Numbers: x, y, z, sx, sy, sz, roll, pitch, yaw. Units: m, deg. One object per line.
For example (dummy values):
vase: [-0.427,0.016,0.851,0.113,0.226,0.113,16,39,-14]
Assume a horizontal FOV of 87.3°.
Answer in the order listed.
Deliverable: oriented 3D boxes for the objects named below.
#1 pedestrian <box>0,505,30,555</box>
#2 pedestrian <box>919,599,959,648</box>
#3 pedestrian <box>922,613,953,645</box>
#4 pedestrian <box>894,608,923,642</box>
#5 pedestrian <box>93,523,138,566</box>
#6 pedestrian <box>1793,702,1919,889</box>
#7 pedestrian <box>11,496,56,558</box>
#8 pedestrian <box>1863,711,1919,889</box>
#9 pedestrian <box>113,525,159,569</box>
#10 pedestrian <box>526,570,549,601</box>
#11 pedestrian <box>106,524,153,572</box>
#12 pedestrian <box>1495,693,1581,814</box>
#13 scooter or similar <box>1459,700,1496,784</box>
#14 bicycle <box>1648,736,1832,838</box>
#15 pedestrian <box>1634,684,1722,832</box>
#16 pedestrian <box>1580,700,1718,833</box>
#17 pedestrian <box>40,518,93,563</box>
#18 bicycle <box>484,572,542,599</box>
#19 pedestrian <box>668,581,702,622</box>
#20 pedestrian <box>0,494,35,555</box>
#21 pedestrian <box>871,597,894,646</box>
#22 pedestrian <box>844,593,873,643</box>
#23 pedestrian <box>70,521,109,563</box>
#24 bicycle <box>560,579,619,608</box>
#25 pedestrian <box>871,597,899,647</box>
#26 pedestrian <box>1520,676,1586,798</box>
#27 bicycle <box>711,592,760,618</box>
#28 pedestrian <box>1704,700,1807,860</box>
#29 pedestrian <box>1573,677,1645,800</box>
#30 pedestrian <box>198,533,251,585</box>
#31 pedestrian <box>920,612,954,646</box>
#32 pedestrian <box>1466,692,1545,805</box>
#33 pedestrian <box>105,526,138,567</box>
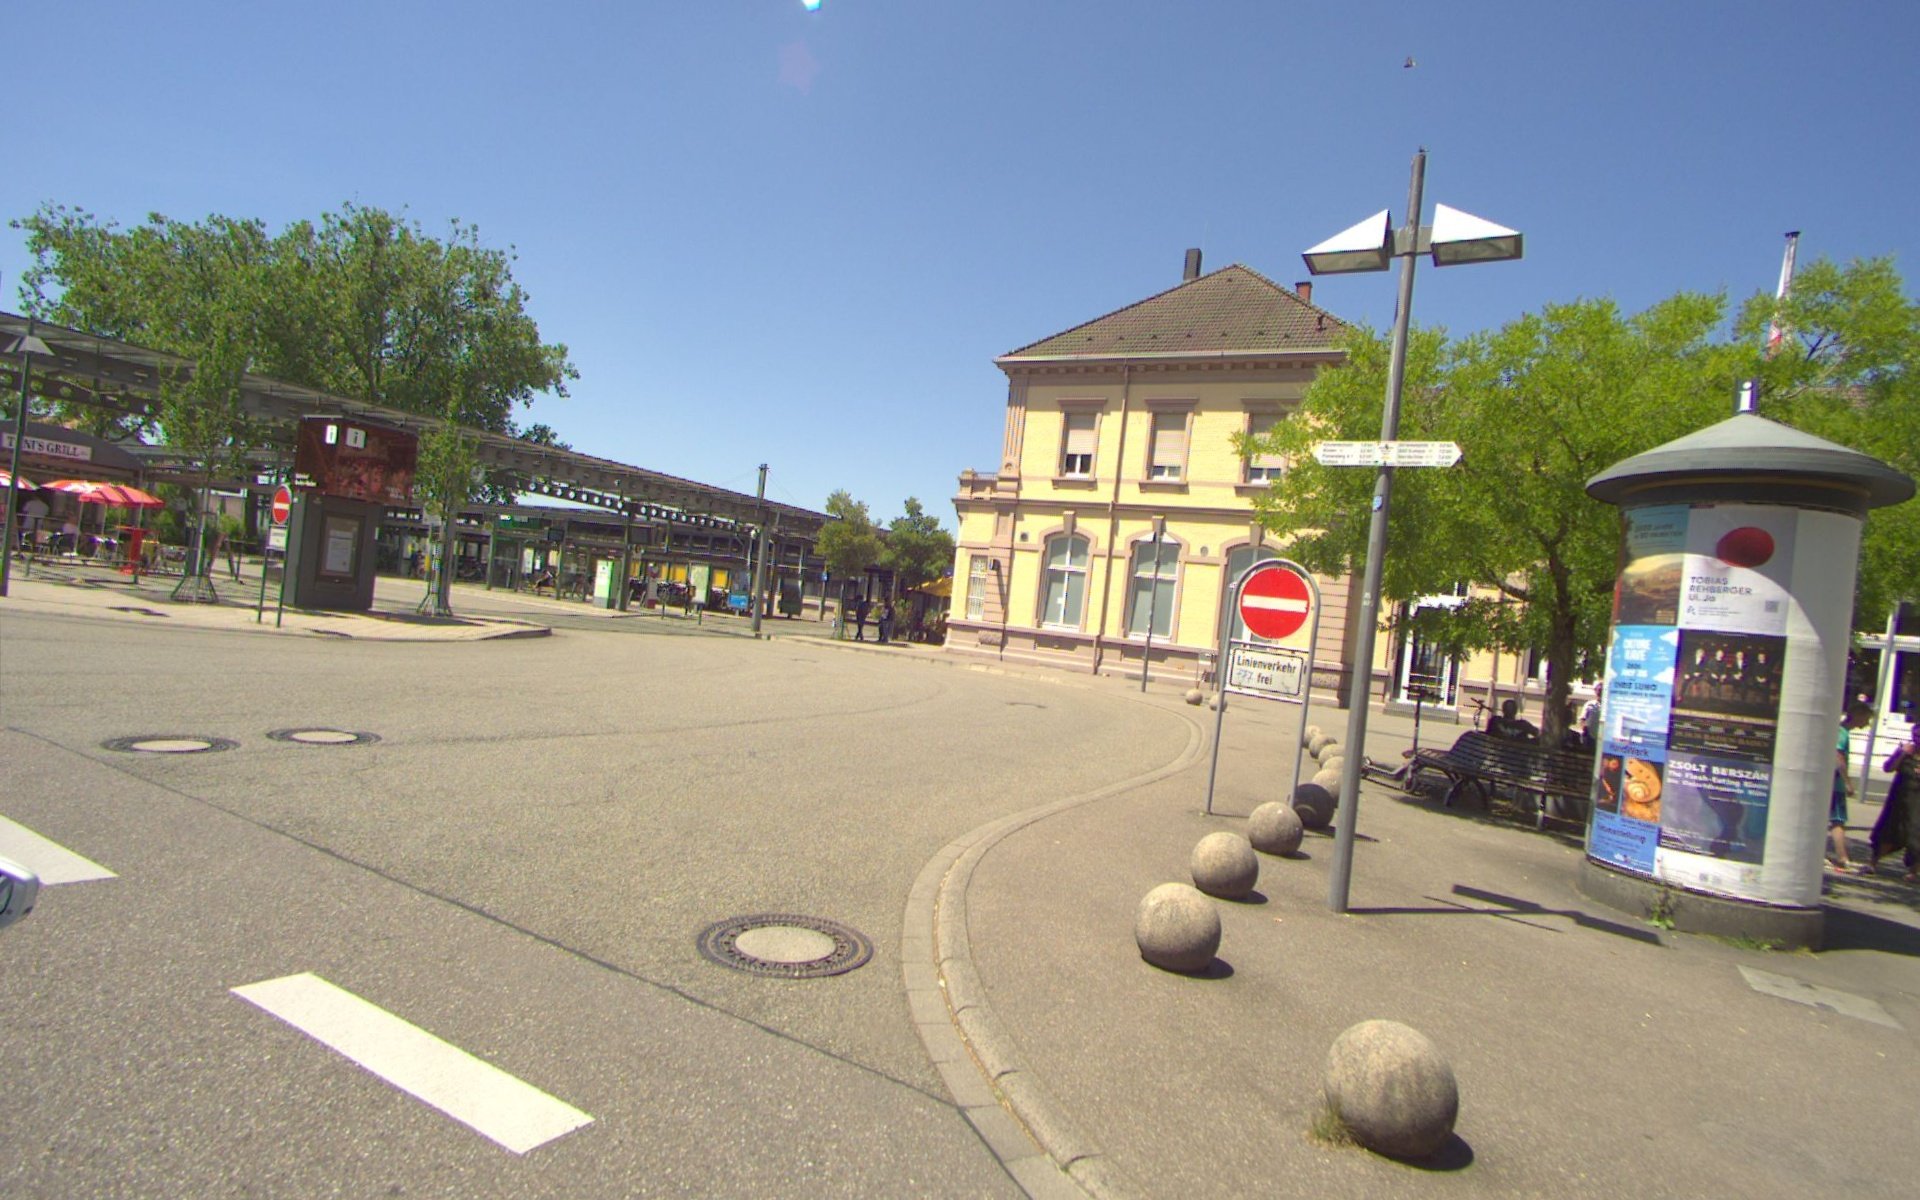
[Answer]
pedestrian: [-27.061,-1.994,28.382,0.676,1.328,0.894,6,0,-5]
pedestrian: [-0.862,0.995,41.806,1.064,1.869,1.082,6,0,27]
pedestrian: [-1.024,1.317,45.547,1.038,1.371,0.971,3,1,-26]
pedestrian: [-2.193,1.082,43.203,0.958,1.371,1.052,4,1,9]
pedestrian: [-26.370,-1.729,31.410,0.725,1.218,0.761,5,-3,30]
pedestrian: [9.376,2.009,10.514,0.574,1.785,0.694,6,0,3]
pedestrian: [-27.956,-2.194,30.357,0.695,1.758,0.687,6,-1,30]
pedestrian: [10.079,2.091,10.515,0.537,1.761,0.628,6,0,4]
pedestrian: [-25.267,-1.627,30.836,0.725,1.218,0.761,5,-3,30]
pedestrian: [-19.781,-0.680,47.130,0.665,1.412,0.625,5,1,29]
pedestrian: [-22.844,-1.427,27.670,0.881,1.175,0.687,6,0,34]
pedestrian: [7.249,1.916,12.645,0.588,1.381,0.599,7,0,1]
scooter or similar: [7.739,2.107,15.065,0.289,1.153,1.028,6,-1,22]
bicycle: [10.877,2.590,14.103,1.915,1.073,0.421,6,0,28]
pedestrian: [9.108,1.991,12.782,0.560,1.761,0.512,6,0,0]
pedestrian: [8.402,2.011,12.315,0.926,1.403,0.913,6,0,0]
pedestrian: [-26.279,-1.739,29.608,0.676,1.175,0.894,7,-1,-5]
bicycle: [-23.172,-0.750,52.228,0.797,1.014,2.796,5,-4,27]
pedestrian: [-11.690,0.057,42.814,0.843,1.609,0.923,6,0,35]
pedestrian: [-29.279,-2.336,31.116,0.695,1.759,0.687,6,0,30]
pedestrian: [-3.046,0.854,39.443,0.547,1.831,0.493,6,0,-40]
pedestrian: [-3.904,0.681,38.654,0.685,1.831,0.625,6,0,-39]
pedestrian: [-27.319,-1.817,31.581,0.582,1.218,0.657,5,-3,29]
bicycle: [-18.152,-0.302,49.355,0.797,1.014,2.796,5,-4,27]
pedestrian: [-2.880,0.830,38.602,0.627,1.831,0.589,6,0,-40]
pedestrian: [8.805,2.012,14.955,0.576,1.705,0.555,6,0,17]
bicycle: [-12.201,0.275,54.751,0.950,1.014,2.796,5,-4,27]
pedestrian: [9.486,2.119,12.013,0.588,1.761,0.585,6,0,4]
pedestrian: [9.575,2.024,14.864,0.580,1.705,0.619,6,0,17]
pedestrian: [-20.521,-1.134,28.086,0.880,1.293,0.846,6,-1,34]
pedestrian: [-1.001,1.264,44.030,1.035,1.371,0.974,5,1,32]
pedestrian: [7.340,1.985,13.549,0.588,1.381,0.599,7,0,1]
pedestrian: [-26.918,-1.721,32.290,0.585,1.218,0.654,4,-3,45]
